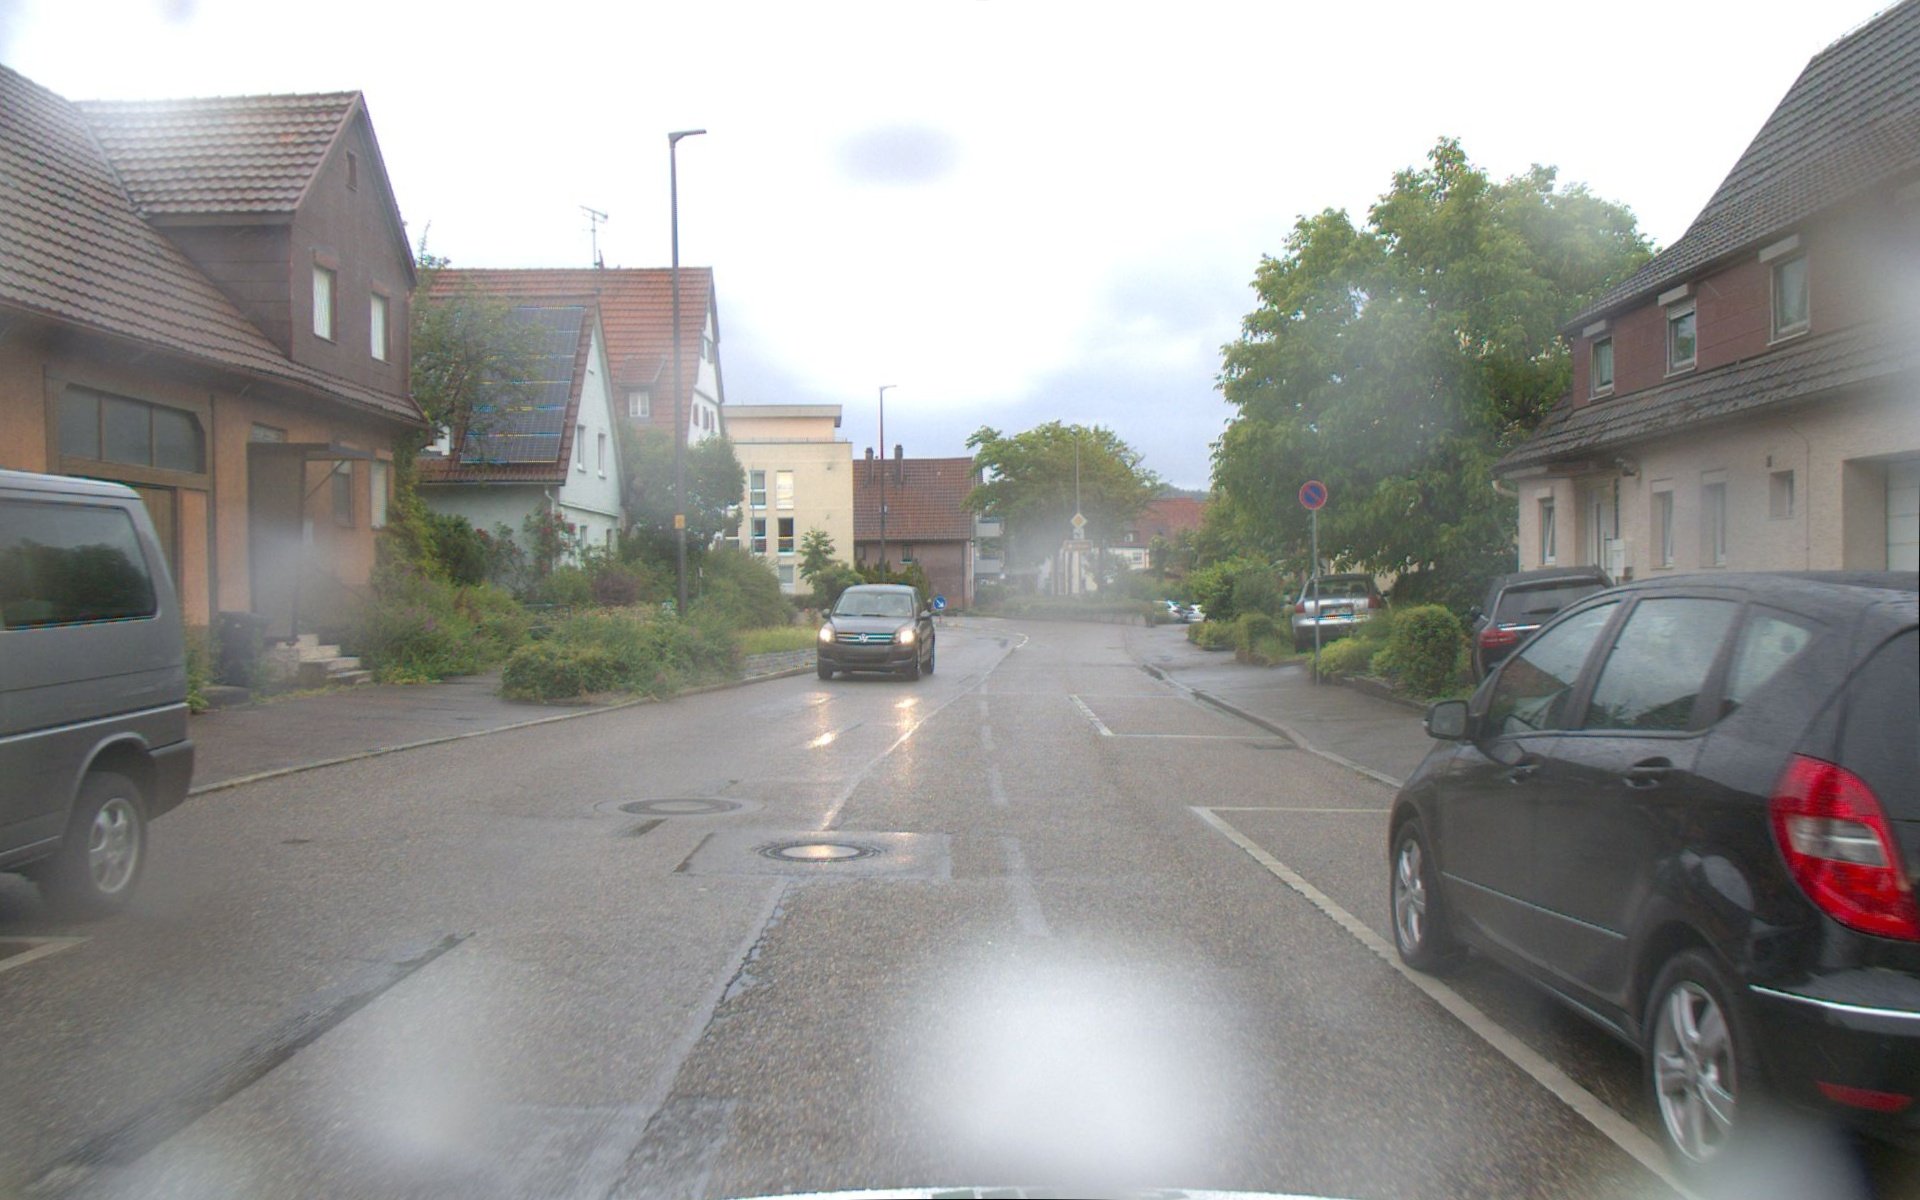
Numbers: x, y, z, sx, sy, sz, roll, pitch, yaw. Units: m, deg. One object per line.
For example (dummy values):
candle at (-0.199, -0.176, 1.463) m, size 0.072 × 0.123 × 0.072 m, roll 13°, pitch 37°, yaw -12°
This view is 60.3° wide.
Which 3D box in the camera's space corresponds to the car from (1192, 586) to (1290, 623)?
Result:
car at (11.800, 0.184, 69.296) m, size 3.869 × 1.433 × 2.002 m, roll -2°, pitch 0°, yaw 15°

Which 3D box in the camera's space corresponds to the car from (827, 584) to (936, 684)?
car at (-1.350, 0.564, 29.691) m, size 1.761 × 1.669 × 4.000 m, roll 0°, pitch 0°, yaw 0°

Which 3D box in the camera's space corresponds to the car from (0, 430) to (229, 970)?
car at (-4.545, 0.393, 5.588) m, size 1.784 × 2.049 × 5.214 m, roll -1°, pitch 0°, yaw 0°

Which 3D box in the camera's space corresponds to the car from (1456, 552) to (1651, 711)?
car at (6.682, 0.280, 18.671) m, size 1.723 × 1.417 × 4.002 m, roll -7°, pitch 0°, yaw 20°

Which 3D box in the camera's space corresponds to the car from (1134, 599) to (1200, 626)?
car at (13.367, 0.786, 106.724) m, size 3.902 × 1.654 × 2.001 m, roll -1°, pitch 0°, yaw 16°

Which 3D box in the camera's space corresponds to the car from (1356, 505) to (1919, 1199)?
car at (2.720, 0.647, 5.612) m, size 1.714 × 1.739 × 3.999 m, roll -1°, pitch 0°, yaw -1°

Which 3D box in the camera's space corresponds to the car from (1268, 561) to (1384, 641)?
car at (7.071, 0.012, 32.227) m, size 1.603 × 1.455 × 3.678 m, roll -1°, pitch 0°, yaw 3°
